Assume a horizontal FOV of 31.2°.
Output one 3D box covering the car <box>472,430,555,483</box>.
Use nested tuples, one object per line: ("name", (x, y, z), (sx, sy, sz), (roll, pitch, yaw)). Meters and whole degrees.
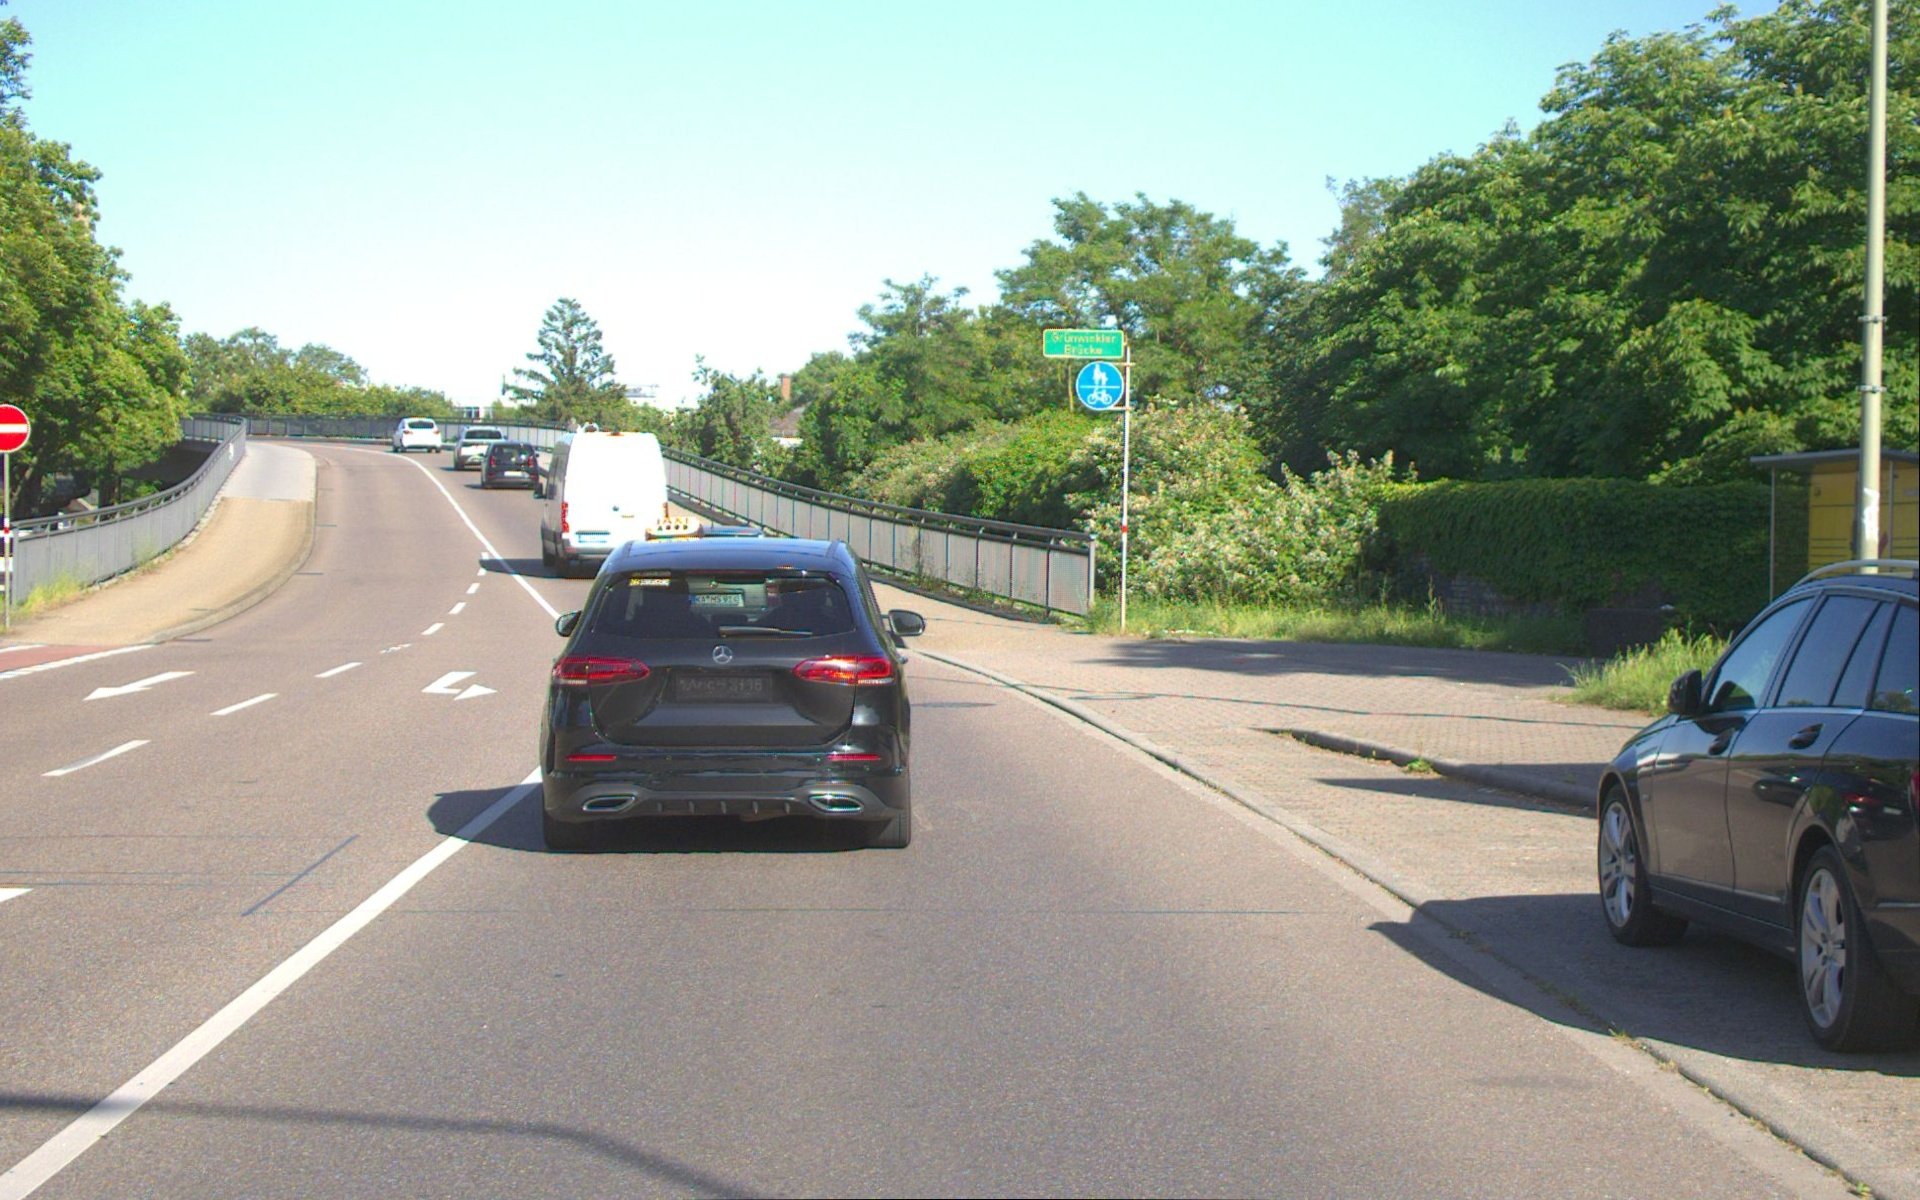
("car", (-13.590, -4.374, 104.869), (1.918, 1.483, 4.270), (0, 1, 1))

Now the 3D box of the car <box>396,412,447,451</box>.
("car", (-23.075, -7.213, 147.186), (1.876, 1.538, 4.002), (1, 2, -13))

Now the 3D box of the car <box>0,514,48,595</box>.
("car", (-24.881, -1.209, 88.690), (1.923, 1.984, 4.258), (1, 2, -5))

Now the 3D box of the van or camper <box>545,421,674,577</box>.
("van or camper", (-6.697, -1.918, 65.053), (2.225, 2.729, 7.082), (1, 2, -7))

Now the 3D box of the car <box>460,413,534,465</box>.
("car", (-16.229, -5.631, 120.683), (1.993, 1.674, 4.000), (0, 1, 1))

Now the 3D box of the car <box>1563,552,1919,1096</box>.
("car", (3.354, 0.583, 11.435), (1.808, 1.414, 4.425), (1, 1, -1))

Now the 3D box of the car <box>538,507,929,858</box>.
("car", (-1.168, 0.351, 17.882), (1.769, 1.587, 3.990), (1, 1, -4))

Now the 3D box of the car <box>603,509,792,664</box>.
("car", (-3.035, -0.166, 39.084), (1.804, 1.634, 4.001), (1, 0, -9))
